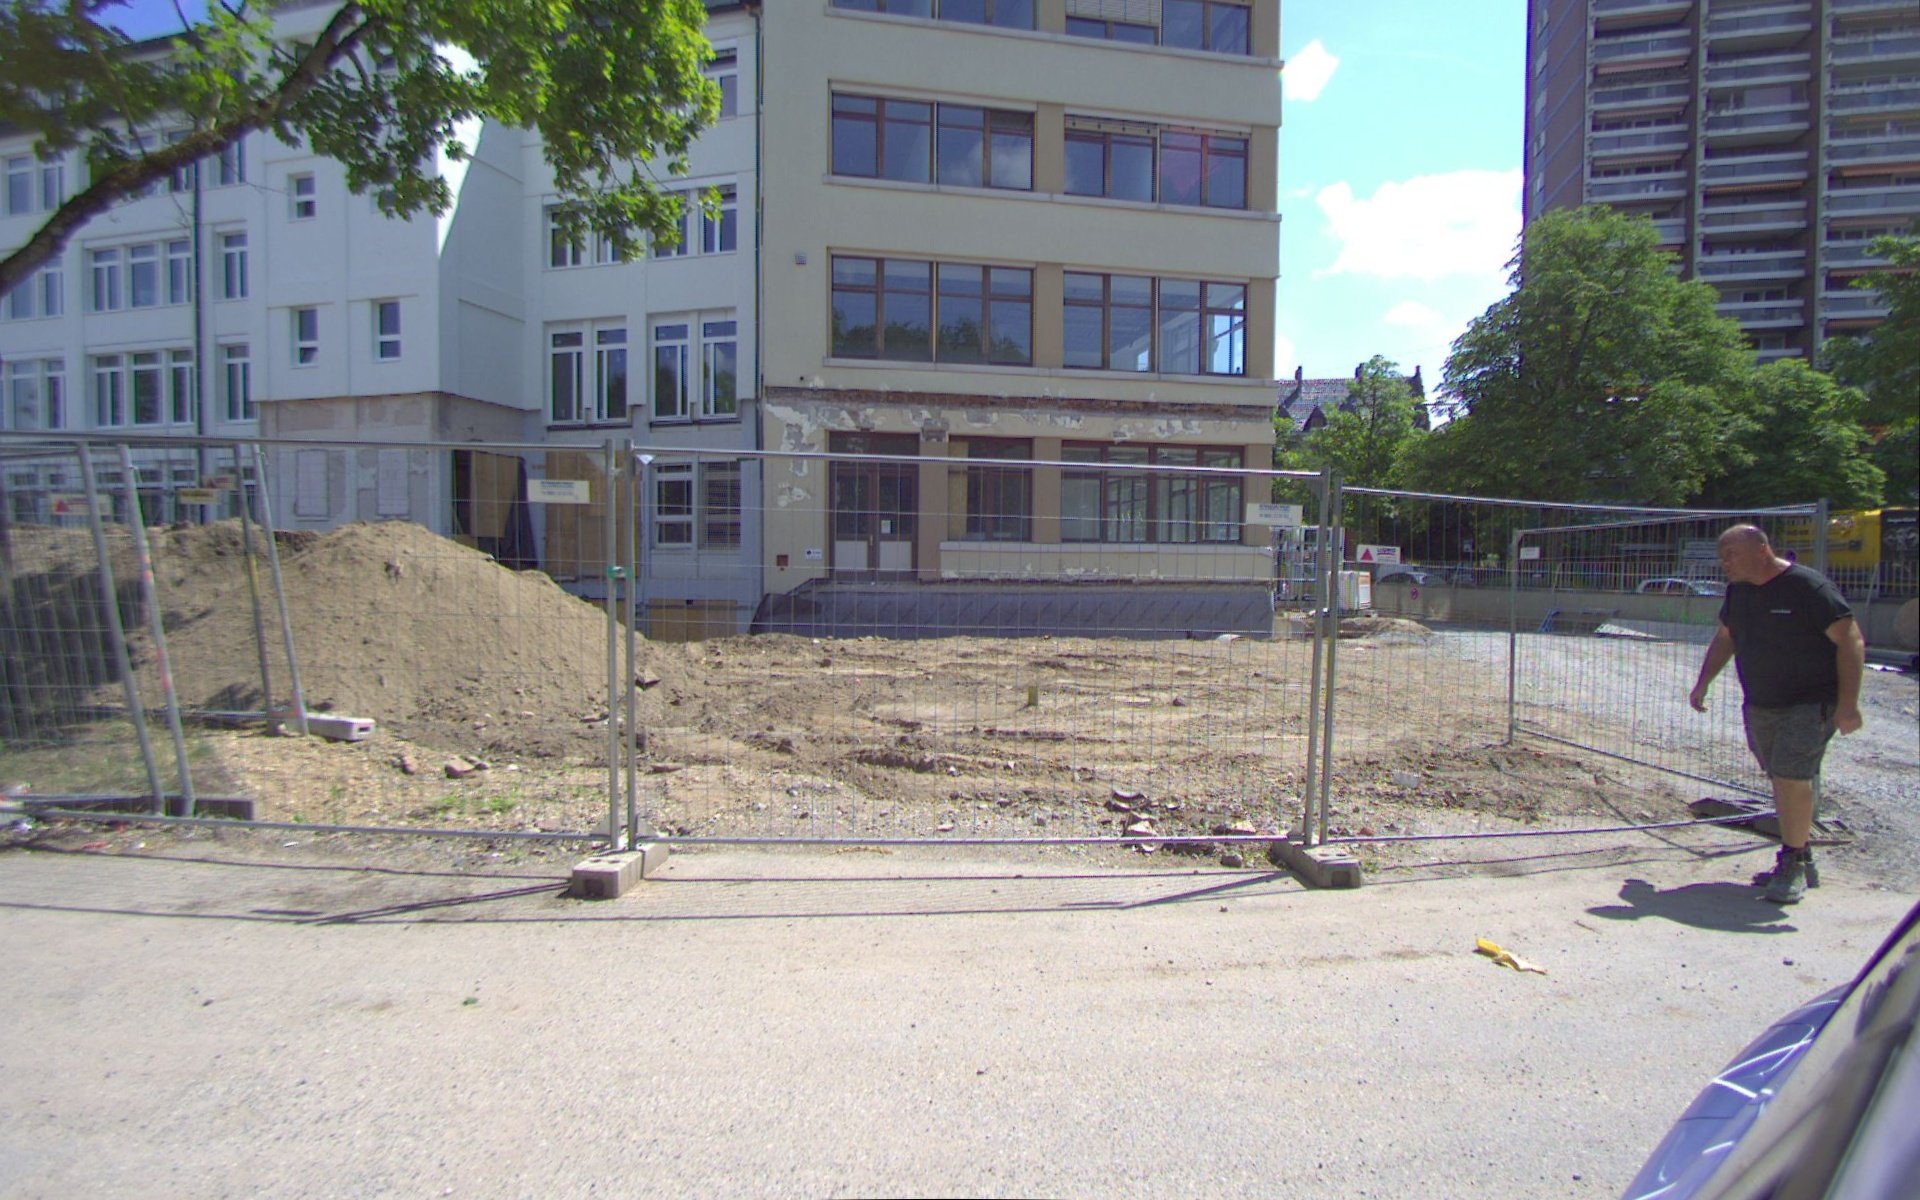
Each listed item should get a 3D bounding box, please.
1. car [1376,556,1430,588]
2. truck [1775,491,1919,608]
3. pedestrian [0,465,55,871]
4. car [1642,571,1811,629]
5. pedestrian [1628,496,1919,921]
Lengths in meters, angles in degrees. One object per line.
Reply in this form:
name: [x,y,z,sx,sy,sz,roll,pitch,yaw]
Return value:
car: [29.097,-1.868,66.423,1.993,2.038,3.938,2,2,43]
truck: [34.621,-1.806,36.727,2.702,4.055,9.737,0,2,4]
pedestrian: [-4.662,0.290,4.190,1.060,1.751,0.876,1,1,2]
car: [20.955,-0.047,27.847,1.589,1.457,3.590,0,2,-8]
pedestrian: [4.043,0.457,4.930,0.947,1.842,0.872,0,1,-17]
